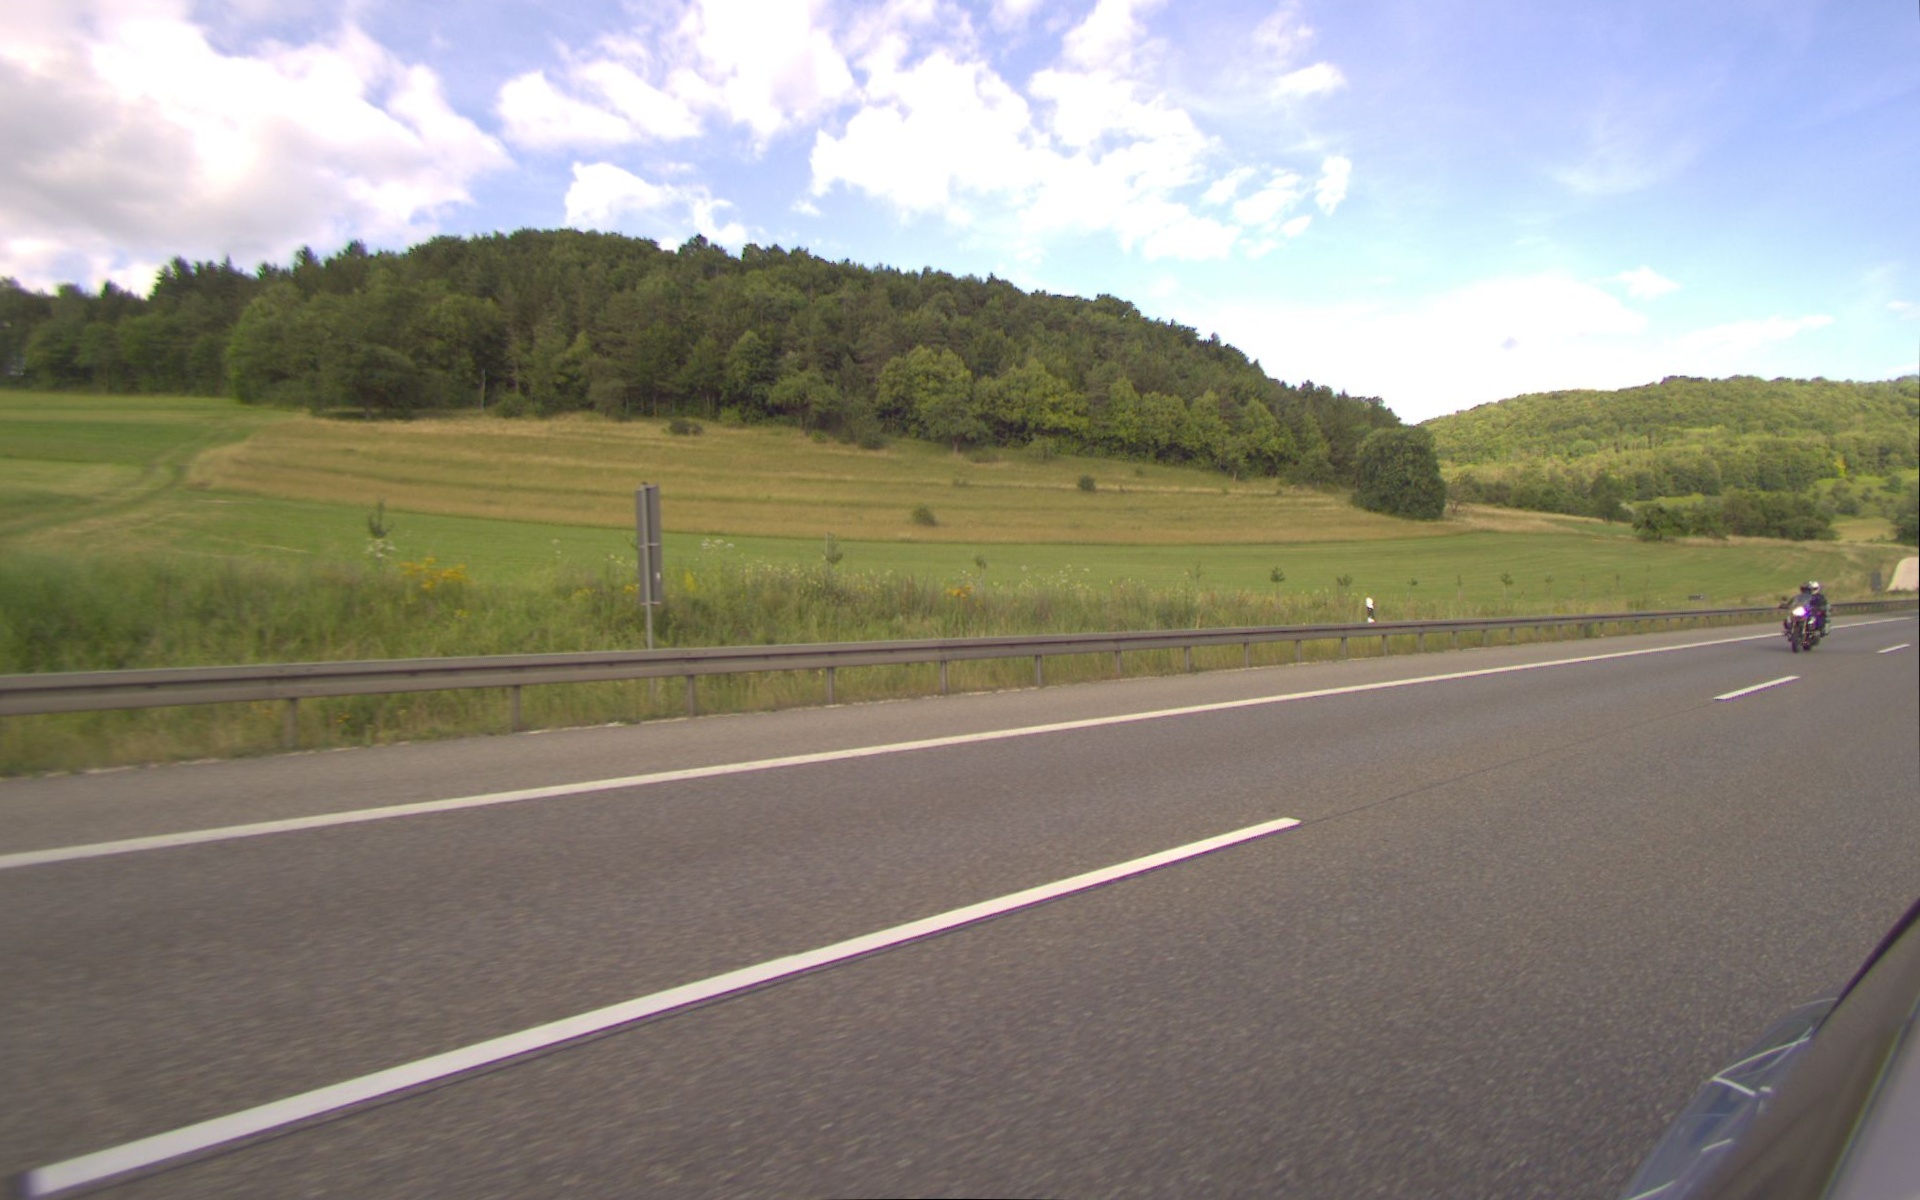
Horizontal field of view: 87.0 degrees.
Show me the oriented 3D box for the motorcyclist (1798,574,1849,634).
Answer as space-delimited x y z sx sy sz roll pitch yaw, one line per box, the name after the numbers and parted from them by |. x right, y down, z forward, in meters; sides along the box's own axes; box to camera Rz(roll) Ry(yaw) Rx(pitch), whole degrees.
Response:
22.582 0.103 26.469 0.783 1.534 0.879 -1 0 -38 | motorcyclist

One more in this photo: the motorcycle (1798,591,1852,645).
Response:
22.471 0.446 26.281 1.705 1.356 0.629 -1 1 -34 | motorcycle
